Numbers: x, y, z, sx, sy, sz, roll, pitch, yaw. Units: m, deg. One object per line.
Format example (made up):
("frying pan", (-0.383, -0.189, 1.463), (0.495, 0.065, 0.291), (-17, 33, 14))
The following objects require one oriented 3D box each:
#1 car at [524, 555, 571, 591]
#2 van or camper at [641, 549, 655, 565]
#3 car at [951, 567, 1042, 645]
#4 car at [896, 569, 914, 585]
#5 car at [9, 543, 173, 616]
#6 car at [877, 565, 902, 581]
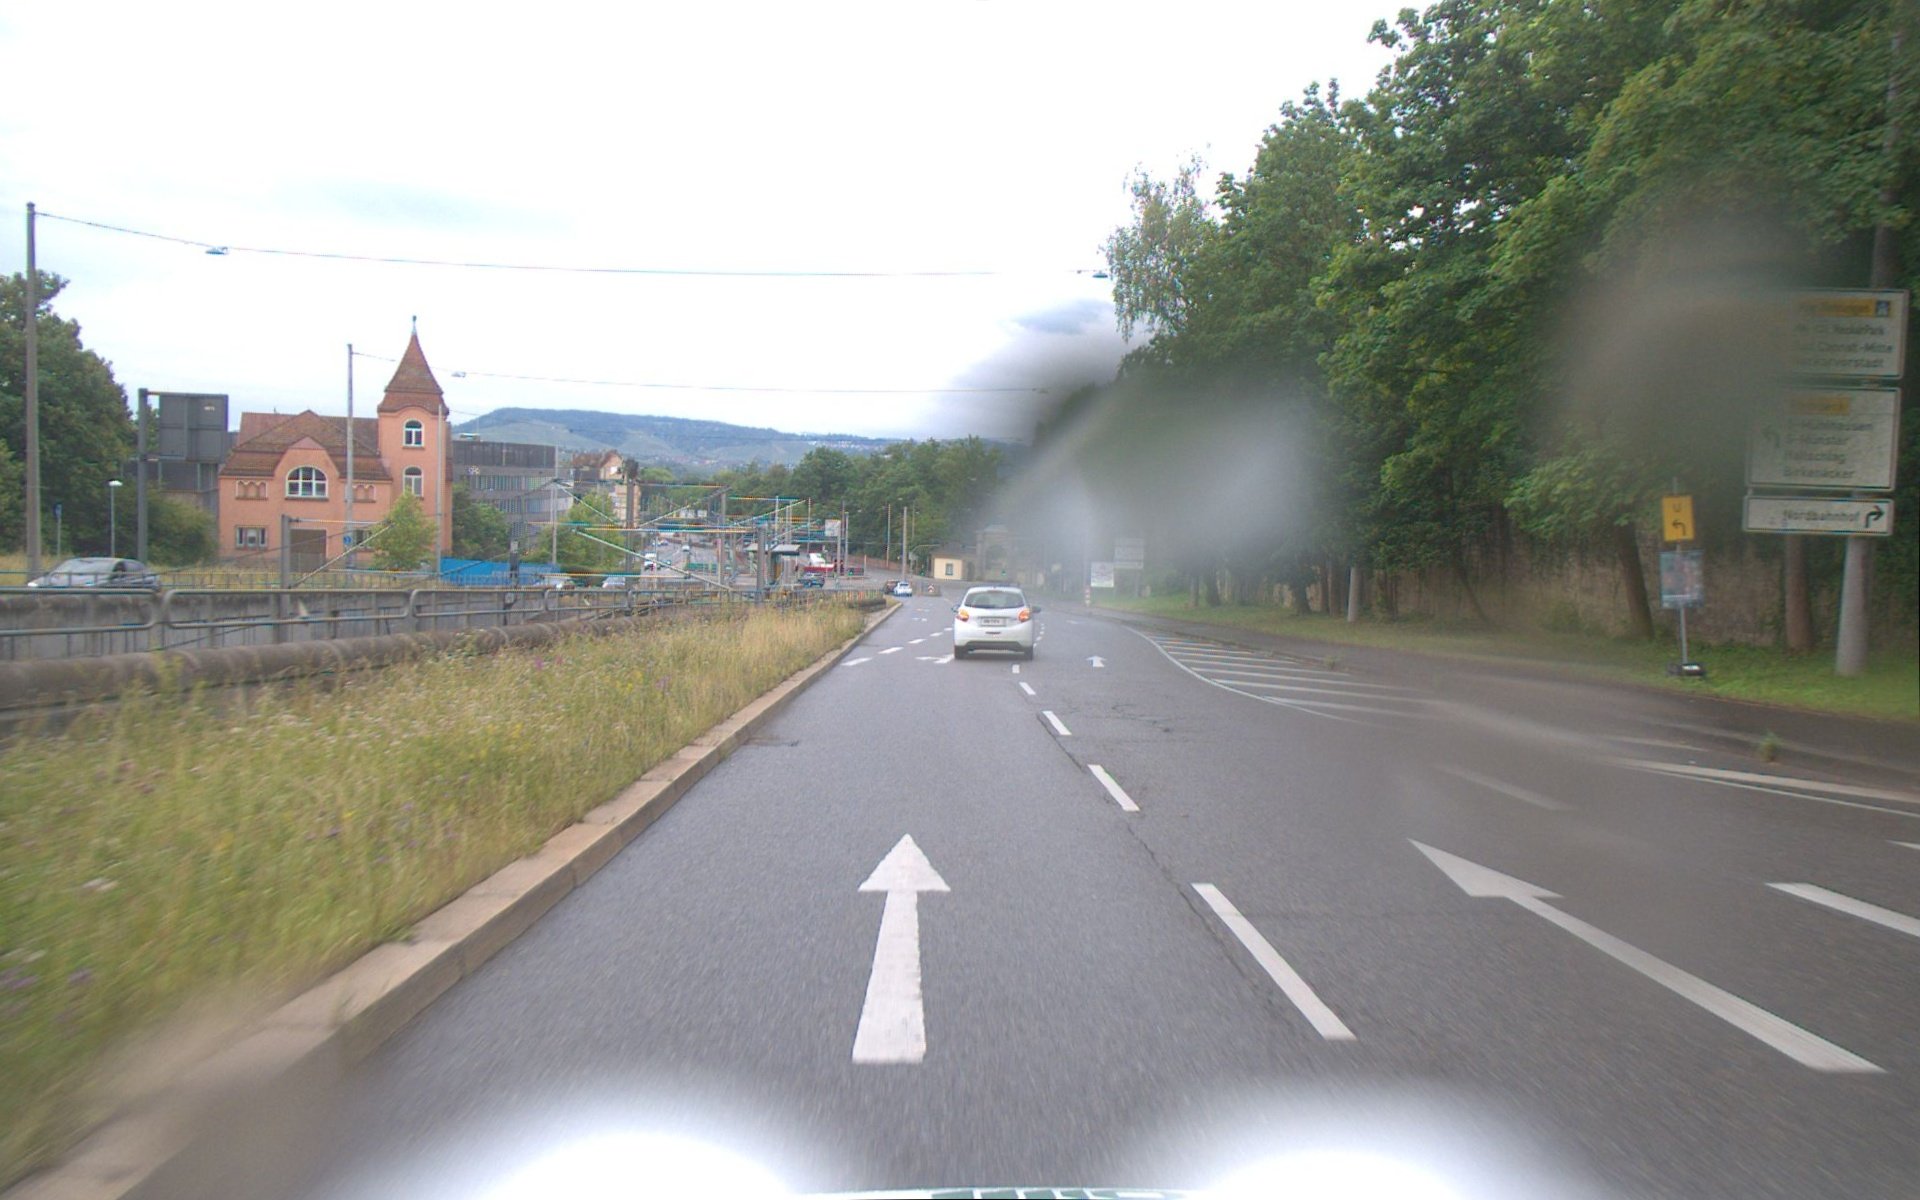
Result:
("car", (-24.671, -1.620, 98.949), (1.854, 2.004, 4.033), (4, 1, -3))
("van or camper", (-48.211, -6.679, 255.680), (1.956, 2.385, 3.993), (1, 1, -9))
("car", (0.737, 0.074, 35.251), (1.830, 1.537, 3.900), (0, 2, 0))
("car", (-5.990, -2.487, 179.618), (1.785, 1.634, 4.001), (-1, 1, 0))
("car", (-22.456, -0.539, 42.948), (1.852, 1.672, 4.358), (4, 1, 0))
("car", (-8.081, -3.088, 188.400), (1.961, 1.735, 3.984), (1, 1, -16))
